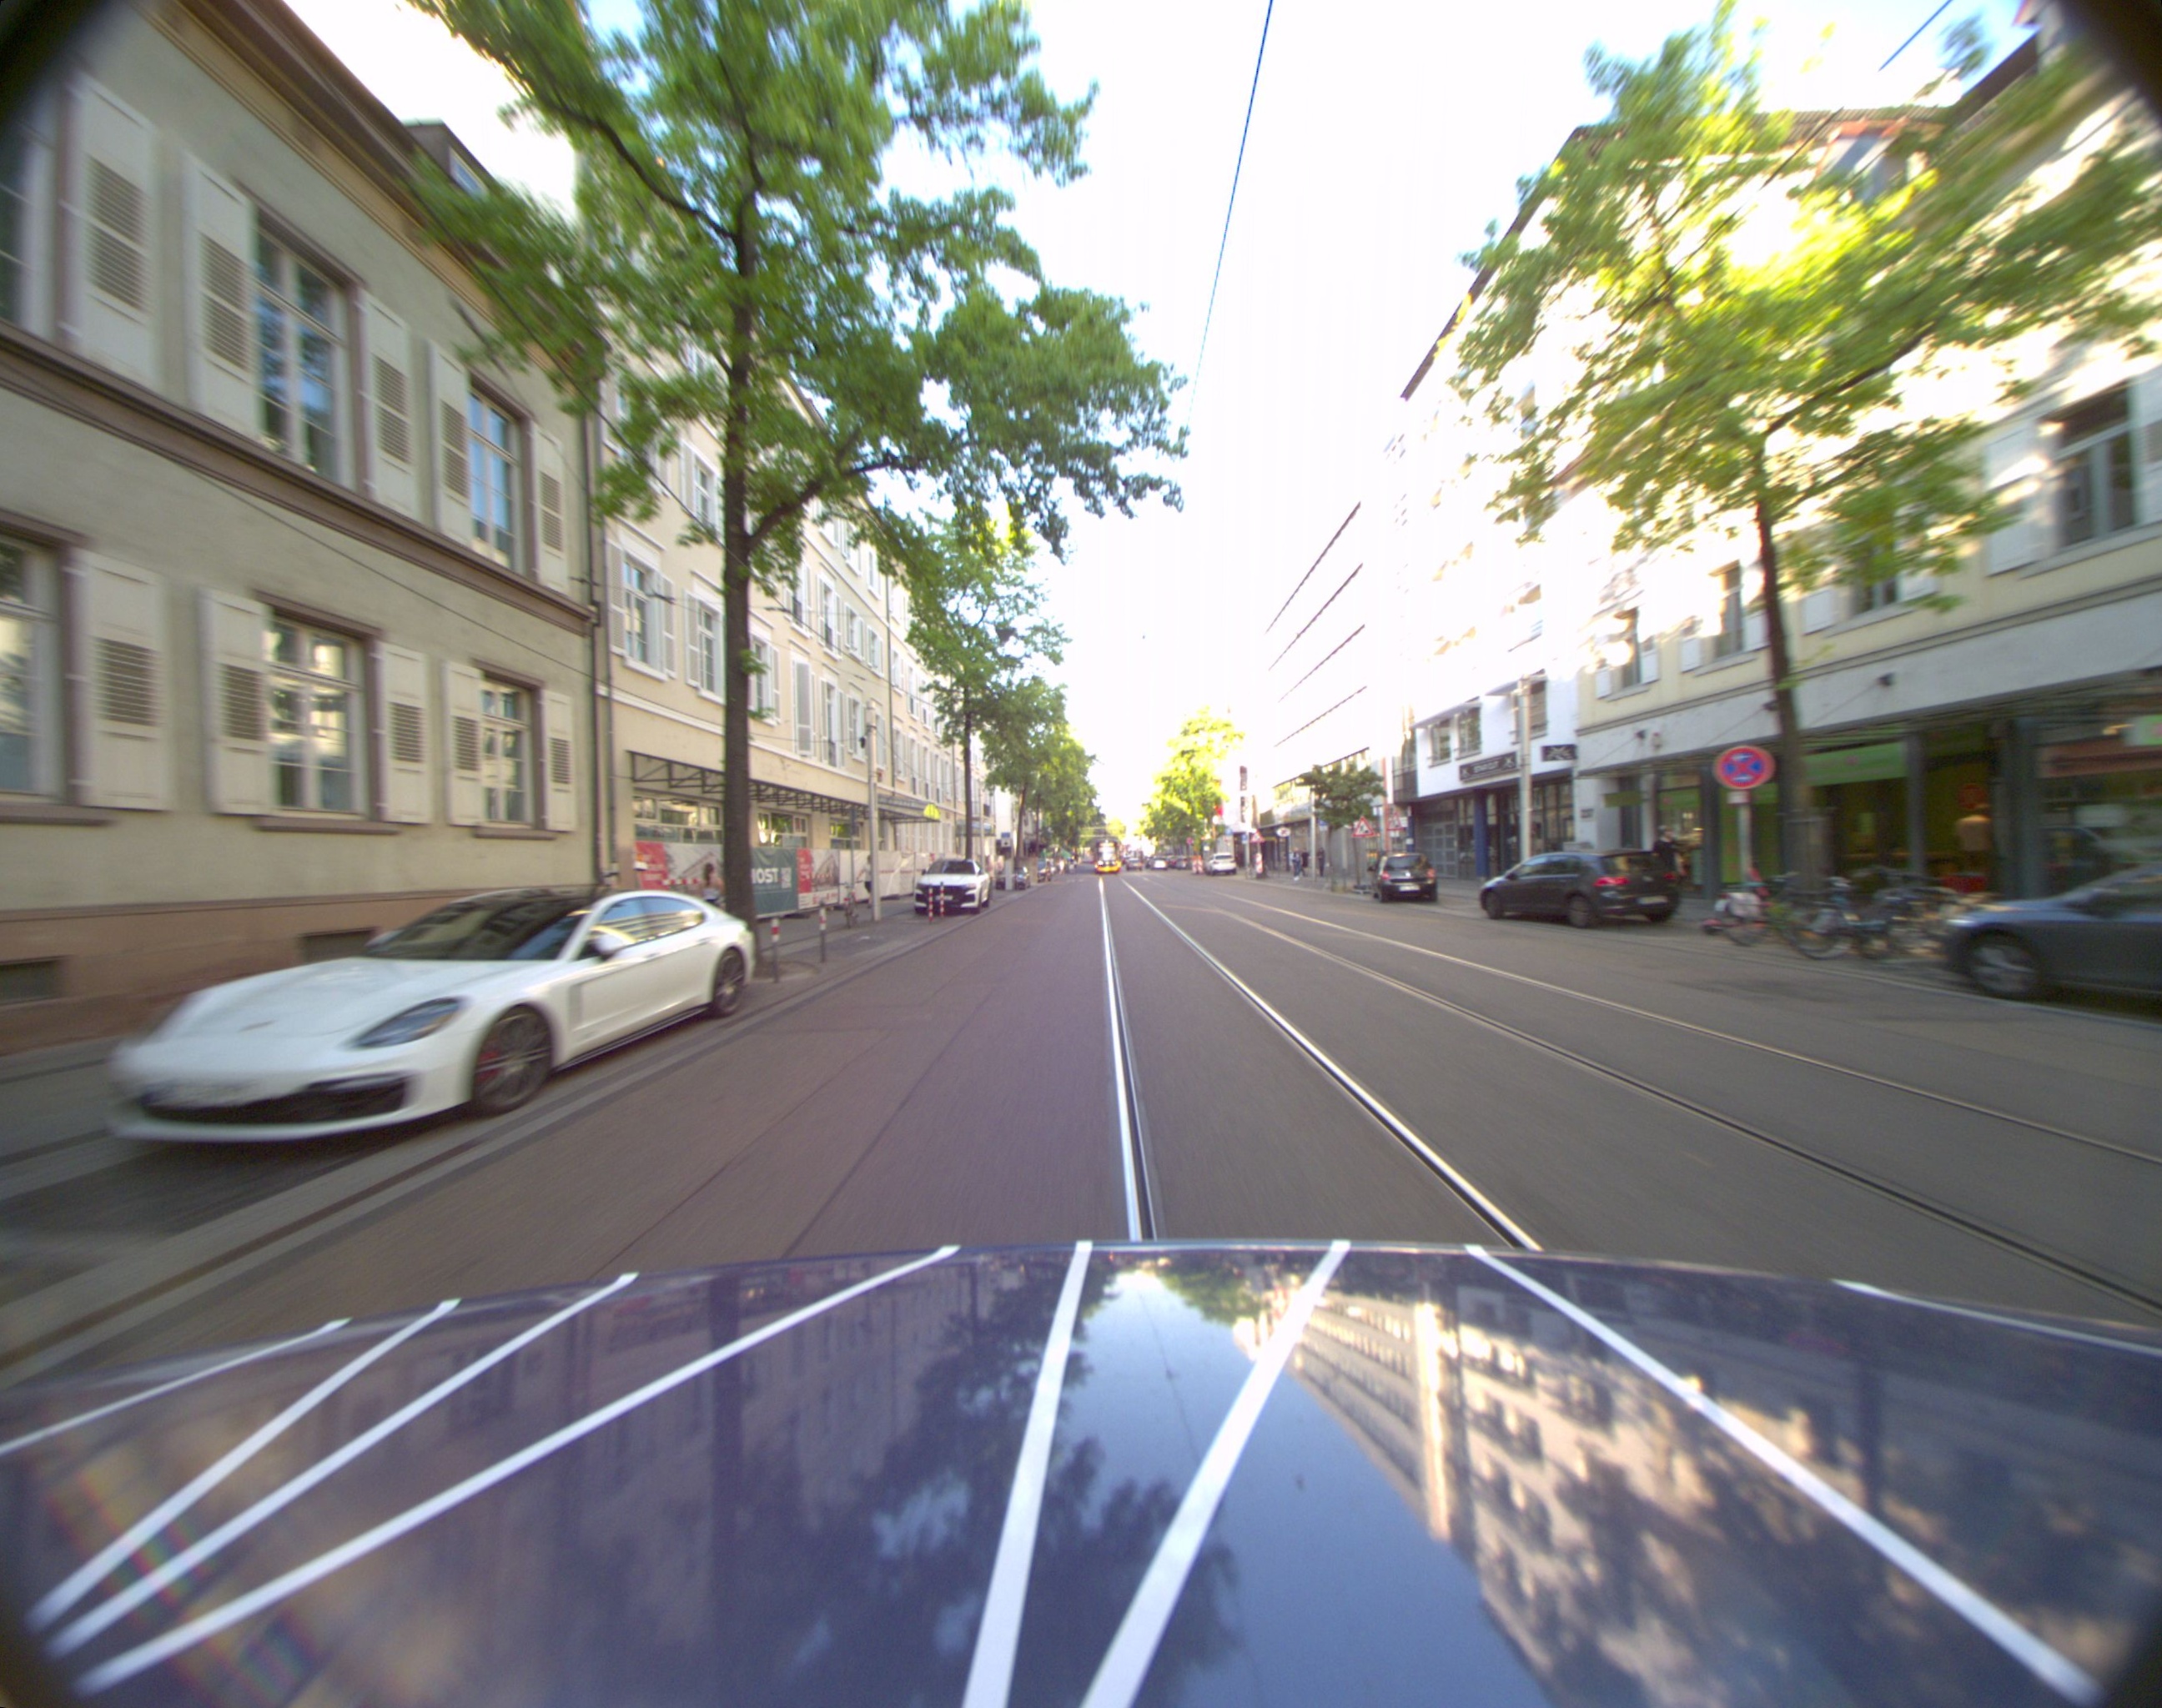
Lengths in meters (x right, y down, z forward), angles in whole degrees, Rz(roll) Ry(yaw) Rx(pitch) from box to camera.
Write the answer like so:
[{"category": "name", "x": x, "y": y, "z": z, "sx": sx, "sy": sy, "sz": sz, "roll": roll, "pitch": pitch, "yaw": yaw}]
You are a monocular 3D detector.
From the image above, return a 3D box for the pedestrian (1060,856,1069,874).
[{"category": "pedestrian", "x": -1.783, "y": 1.141, "z": 82.452, "sx": 0.671, "sy": 1.922, "sz": 0.874, "roll": -2, "pitch": 0, "yaw": 20}]

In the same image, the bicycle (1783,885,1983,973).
[{"category": "bicycle", "x": 9.846, "y": 0.918, "z": 9.356, "sx": 1.975, "sy": 0.995, "sz": 0.330, "roll": -2, "pitch": 1, "yaw": 4}]

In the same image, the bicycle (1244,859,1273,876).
[{"category": "bicycle", "x": 11.446, "y": 0.859, "z": 49.051, "sx": 1.748, "sy": 0.986, "sz": 0.478, "roll": -5, "pitch": 0, "yaw": 9}]

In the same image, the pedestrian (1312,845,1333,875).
[{"category": "pedestrian", "x": 14.212, "y": 0.370, "z": 44.718, "sx": 0.834, "sy": 1.685, "sz": 1.038, "roll": -4, "pitch": 0, "yaw": 2}]

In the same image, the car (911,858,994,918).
[{"category": "car", "x": -4.053, "y": 1.019, "z": 24.816, "sx": 2.003, "sy": 1.678, "sz": 4.966, "roll": 0, "pitch": 0, "yaw": -2}]

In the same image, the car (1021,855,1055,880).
[{"category": "car", "x": -3.190, "y": 0.997, "z": 57.384, "sx": 1.956, "sy": 1.782, "sz": 4.317, "roll": 0, "pitch": 0, "yaw": 5}]

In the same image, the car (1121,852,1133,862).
[{"category": "car", "x": 8.440, "y": 0.605, "z": 139.517, "sx": 2.039, "sy": 1.677, "sz": 4.201, "roll": -2, "pitch": 0, "yaw": 1}]

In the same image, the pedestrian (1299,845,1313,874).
[{"category": "pedestrian", "x": 13.704, "y": 0.333, "z": 46.268, "sx": 0.628, "sy": 1.703, "sz": 0.808, "roll": -3, "pitch": 0, "yaw": 5}]

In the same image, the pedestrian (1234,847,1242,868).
[{"category": "pedestrian", "x": 15.384, "y": 0.355, "z": 74.444, "sx": 0.616, "sy": 2.002, "sz": 0.592, "roll": -2, "pitch": 0, "yaw": 0}]

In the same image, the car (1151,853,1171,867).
[{"category": "car", "x": 9.279, "y": 0.720, "z": 88.425, "sx": 1.889, "sy": 1.602, "sz": 4.201, "roll": 0, "pitch": 0, "yaw": 1}]

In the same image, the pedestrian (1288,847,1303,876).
[{"category": "pedestrian", "x": 12.913, "y": 0.424, "z": 45.824, "sx": 0.643, "sy": 1.703, "sz": 0.829, "roll": -3, "pitch": 0, "yaw": 5}]

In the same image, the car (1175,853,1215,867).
[{"category": "car", "x": 13.698, "y": 0.692, "z": 91.293, "sx": 4.320, "sy": 1.404, "sz": 1.576, "roll": -5, "pitch": 1, "yaw": -17}]

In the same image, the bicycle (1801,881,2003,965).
[{"category": "bicycle", "x": 10.526, "y": 0.880, "z": 9.779, "sx": 1.975, "sy": 0.995, "sz": 0.419, "roll": -2, "pitch": 0, "yaw": 6}]

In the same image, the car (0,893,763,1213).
[{"category": "car", "x": -4.745, "y": 1.165, "z": 6.440, "sx": 1.917, "sy": 1.412, "sz": 4.888, "roll": 1, "pitch": 0, "yaw": 2}]

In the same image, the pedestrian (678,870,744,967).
[{"category": "pedestrian", "x": -6.236, "y": 1.066, "z": 12.840, "sx": 0.650, "sy": 1.564, "sz": 0.798, "roll": -2, "pitch": 0, "yaw": 1}]

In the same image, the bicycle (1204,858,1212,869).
[{"category": "bicycle", "x": 11.120, "y": 0.827, "z": 66.582, "sx": 0.503, "sy": 0.832, "sz": 1.535, "roll": -4, "pitch": 0, "yaw": 7}]

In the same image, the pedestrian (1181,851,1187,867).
[{"category": "pedestrian", "x": 12.615, "y": 0.633, "z": 93.097, "sx": 0.656, "sy": 1.922, "sz": 0.723, "roll": -2, "pitch": 0, "yaw": 3}]

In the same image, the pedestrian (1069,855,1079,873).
[{"category": "pedestrian", "x": -0.779, "y": 1.108, "z": 81.727, "sx": 0.771, "sy": 1.922, "sz": 0.874, "roll": -2, "pitch": 0, "yaw": 16}]

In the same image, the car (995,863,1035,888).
[{"category": "car", "x": -3.731, "y": 1.214, "z": 43.636, "sx": 1.798, "sy": 1.304, "sz": 4.330, "roll": 0, "pitch": 0, "yaw": 2}]

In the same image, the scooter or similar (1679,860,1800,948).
[{"category": "scooter or similar", "x": 10.288, "y": 0.776, "z": 11.901, "sx": 1.422, "sy": 1.263, "sz": 0.375, "roll": -4, "pitch": 0, "yaw": 6}]

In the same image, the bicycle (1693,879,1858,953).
[{"category": "bicycle", "x": 10.072, "y": 0.898, "z": 11.044, "sx": 1.975, "sy": 0.995, "sz": 0.330, "roll": -2, "pitch": 1, "yaw": 4}]

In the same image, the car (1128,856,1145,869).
[{"category": "car", "x": 6.474, "y": 0.942, "z": 89.182, "sx": 1.783, "sy": 1.399, "sz": 4.528, "roll": -2, "pitch": 0, "yaw": 2}]

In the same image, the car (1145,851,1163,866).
[{"category": "car", "x": 9.515, "y": 0.595, "z": 99.864, "sx": 2.039, "sy": 1.796, "sz": 4.201, "roll": -1, "pitch": 0, "yaw": 1}]

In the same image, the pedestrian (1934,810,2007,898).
[{"category": "pedestrian", "x": 18.427, "y": 0.010, "z": 15.748, "sx": 0.670, "sy": 1.768, "sz": 0.685, "roll": -2, "pitch": 0, "yaw": 1}]

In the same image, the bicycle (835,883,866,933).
[{"category": "bicycle", "x": -5.653, "y": 1.298, "z": 18.730, "sx": 0.419, "sy": 1.094, "sz": 1.987, "roll": 0, "pitch": 0, "yaw": -8}]

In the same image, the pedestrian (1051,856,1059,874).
[{"category": "pedestrian", "x": -2.831, "y": 1.169, "z": 82.330, "sx": 0.597, "sy": 1.922, "sz": 0.874, "roll": -2, "pitch": 0, "yaw": 20}]

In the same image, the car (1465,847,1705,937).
[{"category": "car", "x": 9.999, "y": 0.679, "z": 15.555, "sx": 1.797, "sy": 1.481, "sz": 4.241, "roll": -3, "pitch": 0, "yaw": -5}]

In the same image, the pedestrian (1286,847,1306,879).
[{"category": "pedestrian", "x": 11.975, "y": 0.492, "z": 42.298, "sx": 0.852, "sy": 1.756, "sz": 0.832, "roll": -2, "pitch": 0, "yaw": -1}]

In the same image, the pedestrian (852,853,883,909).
[{"category": "pedestrian", "x": -7.275, "y": 0.916, "z": 25.971, "sx": 0.714, "sy": 1.875, "sz": 1.053, "roll": 0, "pitch": 0, "yaw": 2}]

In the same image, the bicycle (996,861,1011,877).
[{"category": "bicycle", "x": -5.150, "y": 0.989, "z": 50.665, "sx": 0.656, "sy": 1.064, "sz": 1.672, "roll": 0, "pitch": -1, "yaw": -18}]

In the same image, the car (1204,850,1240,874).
[{"category": "car", "x": 11.125, "y": 0.619, "z": 60.268, "sx": 1.998, "sy": 1.744, "sz": 4.745, "roll": -4, "pitch": 0, "yaw": 1}]

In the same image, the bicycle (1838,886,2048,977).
[{"category": "bicycle", "x": 10.137, "y": 0.907, "z": 8.961, "sx": 1.975, "sy": 0.995, "sz": 0.330, "roll": -2, "pitch": 1, "yaw": 4}]

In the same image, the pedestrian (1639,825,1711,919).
[{"category": "pedestrian", "x": 12.059, "y": 0.365, "z": 15.463, "sx": 0.661, "sy": 1.815, "sz": 0.878, "roll": -5, "pitch": 0, "yaw": 2}]

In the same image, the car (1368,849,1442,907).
[{"category": "car", "x": 10.129, "y": 0.695, "z": 23.989, "sx": 1.632, "sy": 1.606, "sz": 3.713, "roll": -4, "pitch": 0, "yaw": 16}]

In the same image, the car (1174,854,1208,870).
[{"category": "car", "x": 12.794, "y": 0.885, "z": 88.099, "sx": 3.404, "sy": 1.551, "sz": 1.786, "roll": -5, "pitch": 1, "yaw": -24}]

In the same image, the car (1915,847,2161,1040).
[{"category": "car", "x": 9.451, "y": 0.710, "z": 5.595, "sx": 1.715, "sy": 1.452, "sz": 4.486, "roll": -3, "pitch": 0, "yaw": 2}]

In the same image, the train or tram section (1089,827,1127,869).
[{"category": "train or tram section", "x": 2.825, "y": -0.494, "z": 81.440, "sx": 3.607, "sy": 3.974, "sz": 15.718, "roll": -2, "pitch": 0, "yaw": 2}]

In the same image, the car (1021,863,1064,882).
[{"category": "car", "x": -3.789, "y": 1.819, "z": 75.153, "sx": 3.937, "sy": 1.599, "sz": 1.867, "roll": -2, "pitch": 2, "yaw": 8}]
